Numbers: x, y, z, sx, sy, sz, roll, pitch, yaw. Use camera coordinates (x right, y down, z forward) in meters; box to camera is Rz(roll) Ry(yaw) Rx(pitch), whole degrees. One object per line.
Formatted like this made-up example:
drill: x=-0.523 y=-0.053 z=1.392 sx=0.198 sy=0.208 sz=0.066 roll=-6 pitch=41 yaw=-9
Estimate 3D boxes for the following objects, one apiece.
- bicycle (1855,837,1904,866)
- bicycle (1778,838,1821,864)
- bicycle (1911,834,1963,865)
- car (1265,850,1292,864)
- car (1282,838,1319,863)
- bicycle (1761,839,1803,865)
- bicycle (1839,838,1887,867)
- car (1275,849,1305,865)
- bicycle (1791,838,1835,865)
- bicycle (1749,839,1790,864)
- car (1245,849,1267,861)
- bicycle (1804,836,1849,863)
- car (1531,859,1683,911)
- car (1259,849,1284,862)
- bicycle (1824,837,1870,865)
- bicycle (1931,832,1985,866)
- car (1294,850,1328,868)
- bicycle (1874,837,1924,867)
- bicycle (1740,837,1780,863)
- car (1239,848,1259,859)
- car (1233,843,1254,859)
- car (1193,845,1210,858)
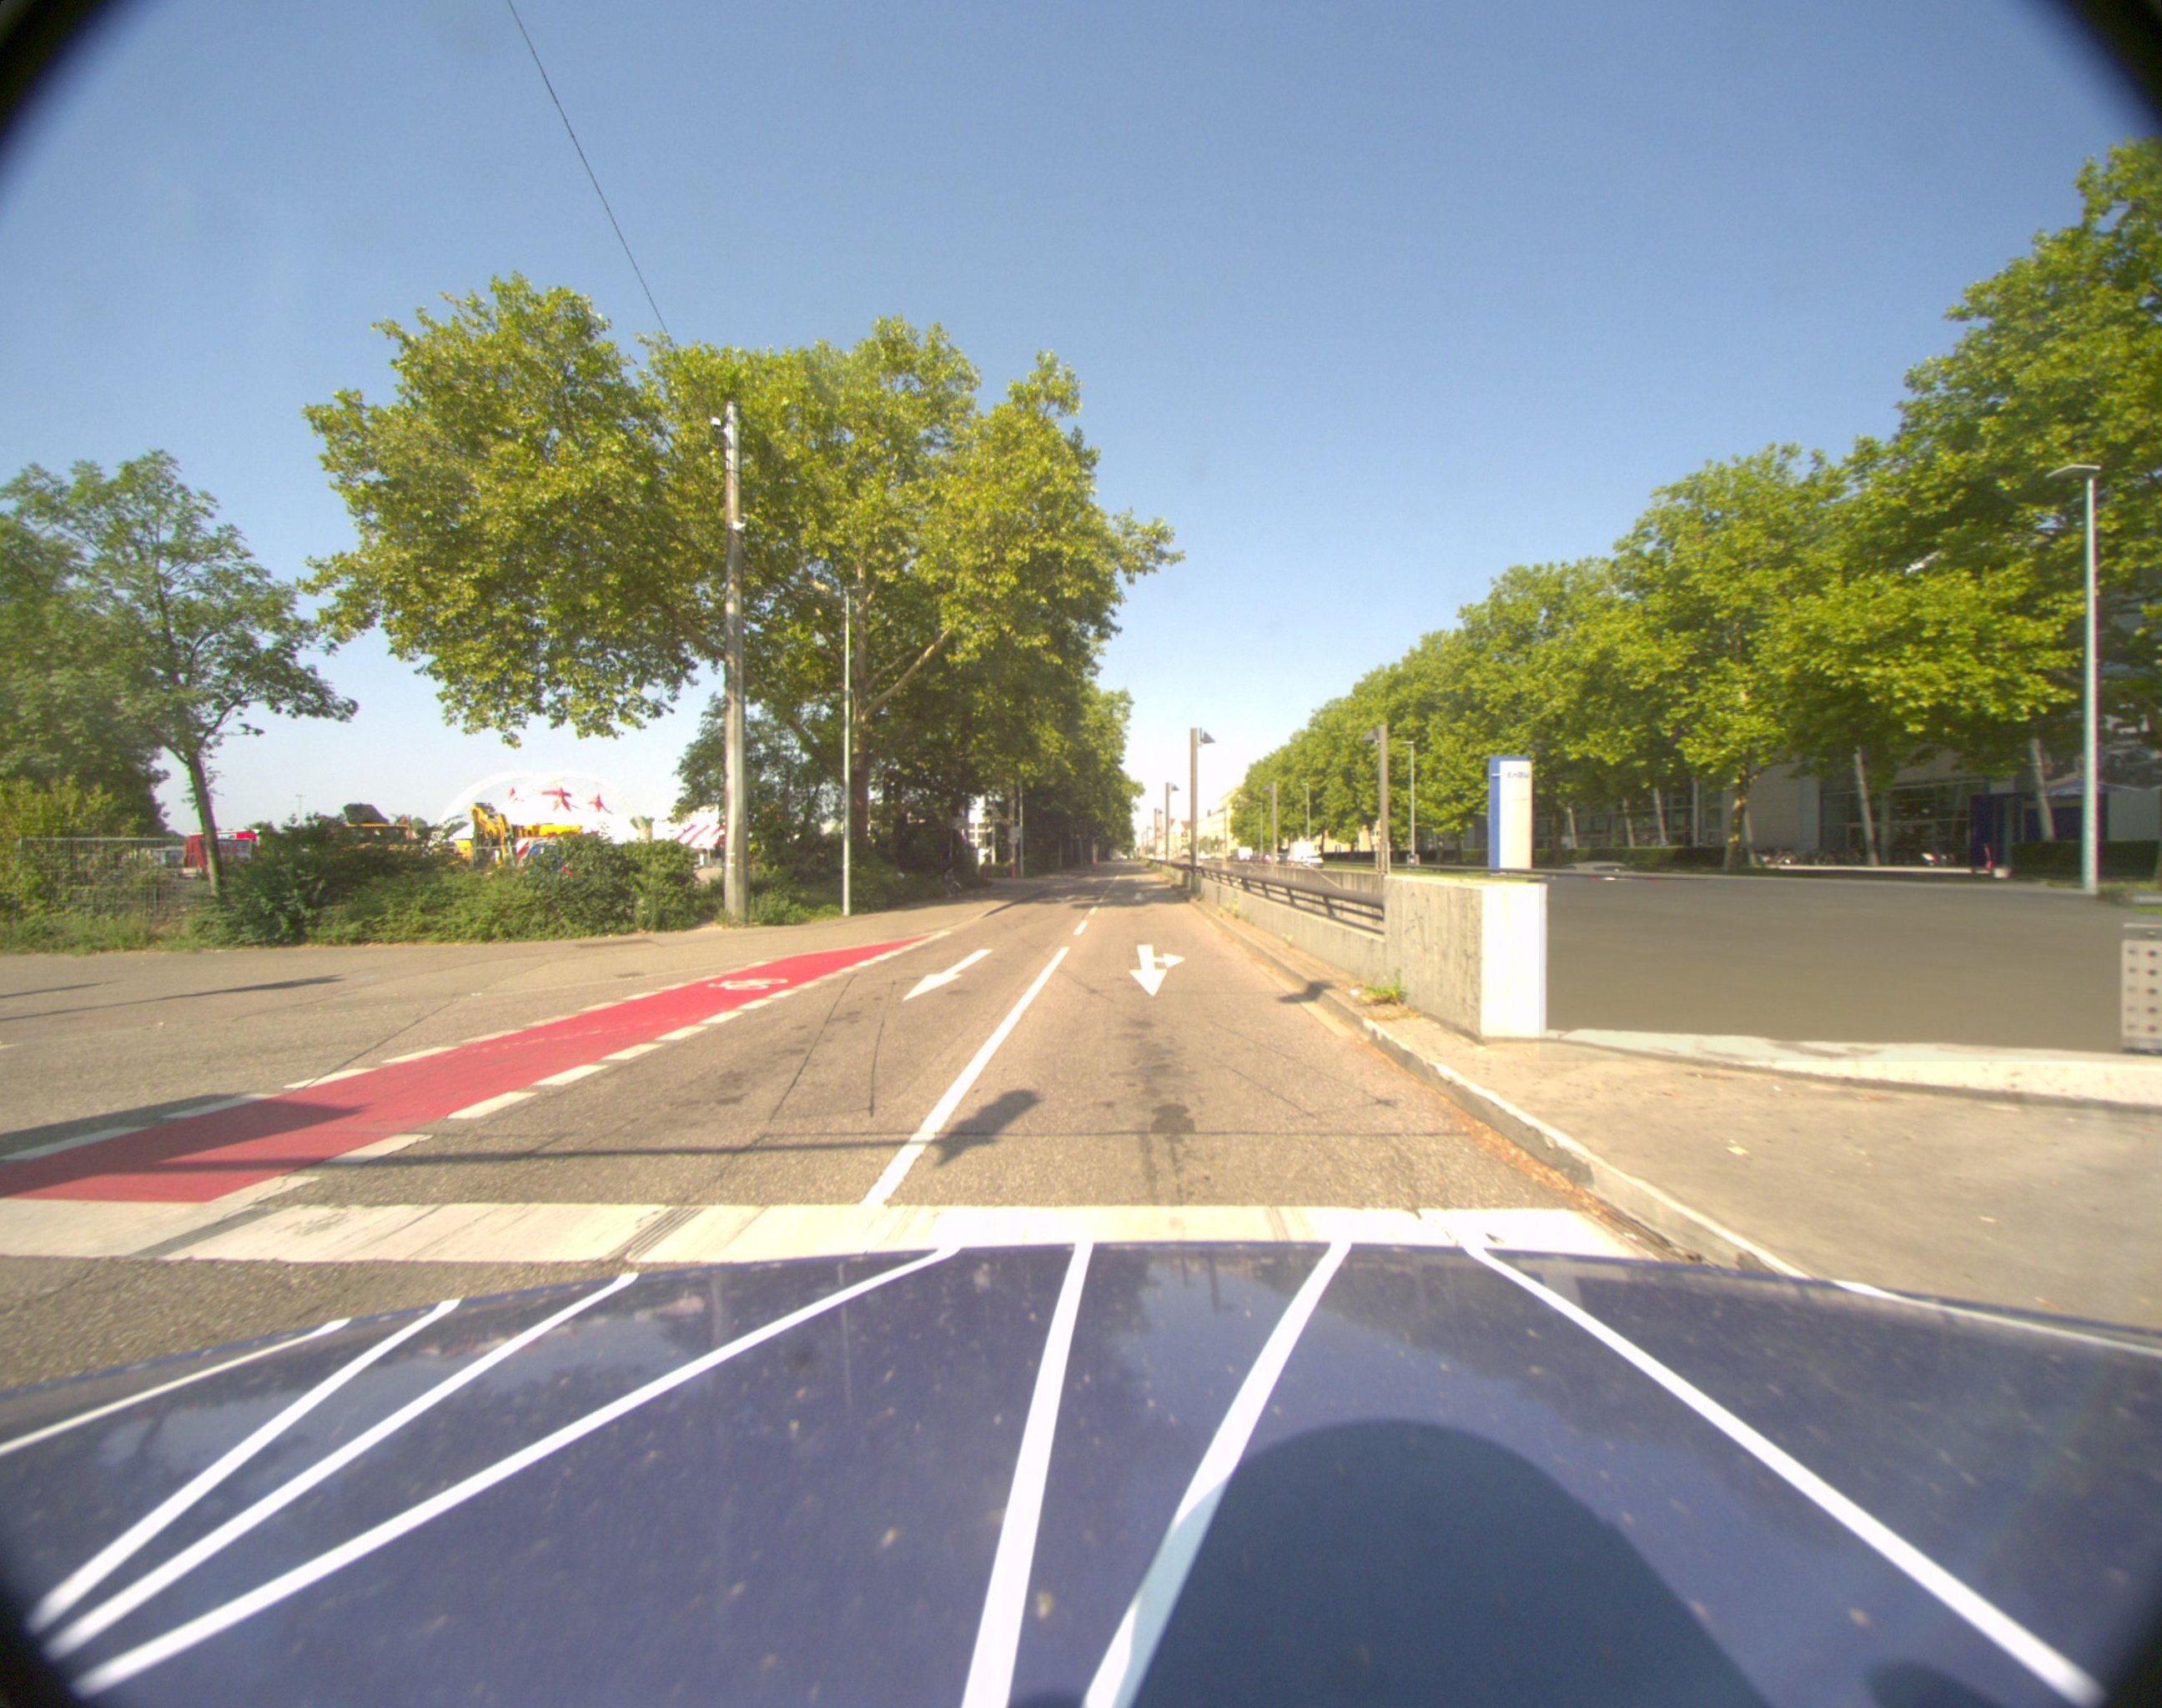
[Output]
bicycle: x=45.173 y=-0.136 z=42.988 sx=2.169 sy=1.546 sz=0.600 roll=-3 pitch=1 yaw=-3
bicycle: x=44.782 y=-0.197 z=47.364 sx=2.169 sy=1.546 sz=0.600 roll=-3 pitch=1 yaw=-3
bicycle: x=45.466 y=-0.259 z=40.368 sx=2.169 sy=1.546 sz=0.600 roll=-3 pitch=1 yaw=-3
car: x=21.546 y=0.316 z=82.986 sx=1.998 sy=1.444 sz=4.000 roll=-3 pitch=0 yaw=3
car: x=20.898 y=-0.357 z=72.560 sx=2.291 sy=2.220 sz=4.656 roll=-3 pitch=0 yaw=3
bicycle: x=44.721 y=-0.118 z=48.484 sx=2.169 sy=1.546 sz=0.600 roll=-3 pitch=1 yaw=-3
bicycle: x=45.104 y=-0.087 z=43.821 sx=2.169 sy=1.546 sz=0.600 roll=-3 pitch=1 yaw=-3
car: x=21.274 y=0.294 z=77.438 sx=1.998 sy=1.444 sz=4.000 roll=-3 pitch=0 yaw=3
bicycle: x=44.831 y=-0.160 z=46.565 sx=2.169 sy=1.546 sz=0.600 roll=-3 pitch=1 yaw=-3
bicycle: x=44.652 y=-0.153 z=49.274 sx=2.169 sy=1.546 sz=0.600 roll=-3 pitch=1 yaw=-3
car: x=22.737 y=0.113 z=98.968 sx=1.998 sy=1.444 sz=4.000 roll=-3 pitch=0 yaw=3
bicycle: x=44.920 y=-0.278 z=45.805 sx=2.169 sy=1.546 sz=0.600 roll=-3 pitch=1 yaw=-3
car: x=14.748 y=0.807 z=21.587 sx=1.660 sy=1.214 sz=3.894 roll=-3 pitch=0 yaw=1
car: x=22.223 y=0.133 z=88.855 sx=1.998 sy=1.444 sz=4.000 roll=-3 pitch=0 yaw=3
bicycle: x=45.037 y=-0.191 z=44.670 sx=2.169 sy=1.546 sz=0.600 roll=-3 pitch=1 yaw=-3
bicycle: x=45.552 y=-0.271 z=39.474 sx=2.169 sy=1.630 sz=0.600 roll=-3 pitch=1 yaw=-3
car: x=20.386 y=0.402 z=67.502 sx=1.998 sy=1.444 sz=4.000 roll=-3 pitch=0 yaw=3
bicycle: x=45.229 y=-0.098 z=42.002 sx=2.169 sy=1.546 sz=0.600 roll=-3 pitch=1 yaw=-3
bicycle: x=44.614 y=-0.262 z=49.930 sx=2.169 sy=1.546 sz=0.600 roll=-3 pitch=1 yaw=-3
car: x=23.321 y=-0.048 z=105.415 sx=1.998 sy=1.444 sz=4.000 roll=-3 pitch=0 yaw=3
car: x=23.746 y=-0.453 z=111.103 sx=2.291 sy=2.067 sz=4.656 roll=-3 pitch=0 yaw=3
car: x=20.021 y=-0.362 z=126.259 sx=1.999 sy=2.002 sz=3.999 roll=-2 pitch=1 yaw=-1
